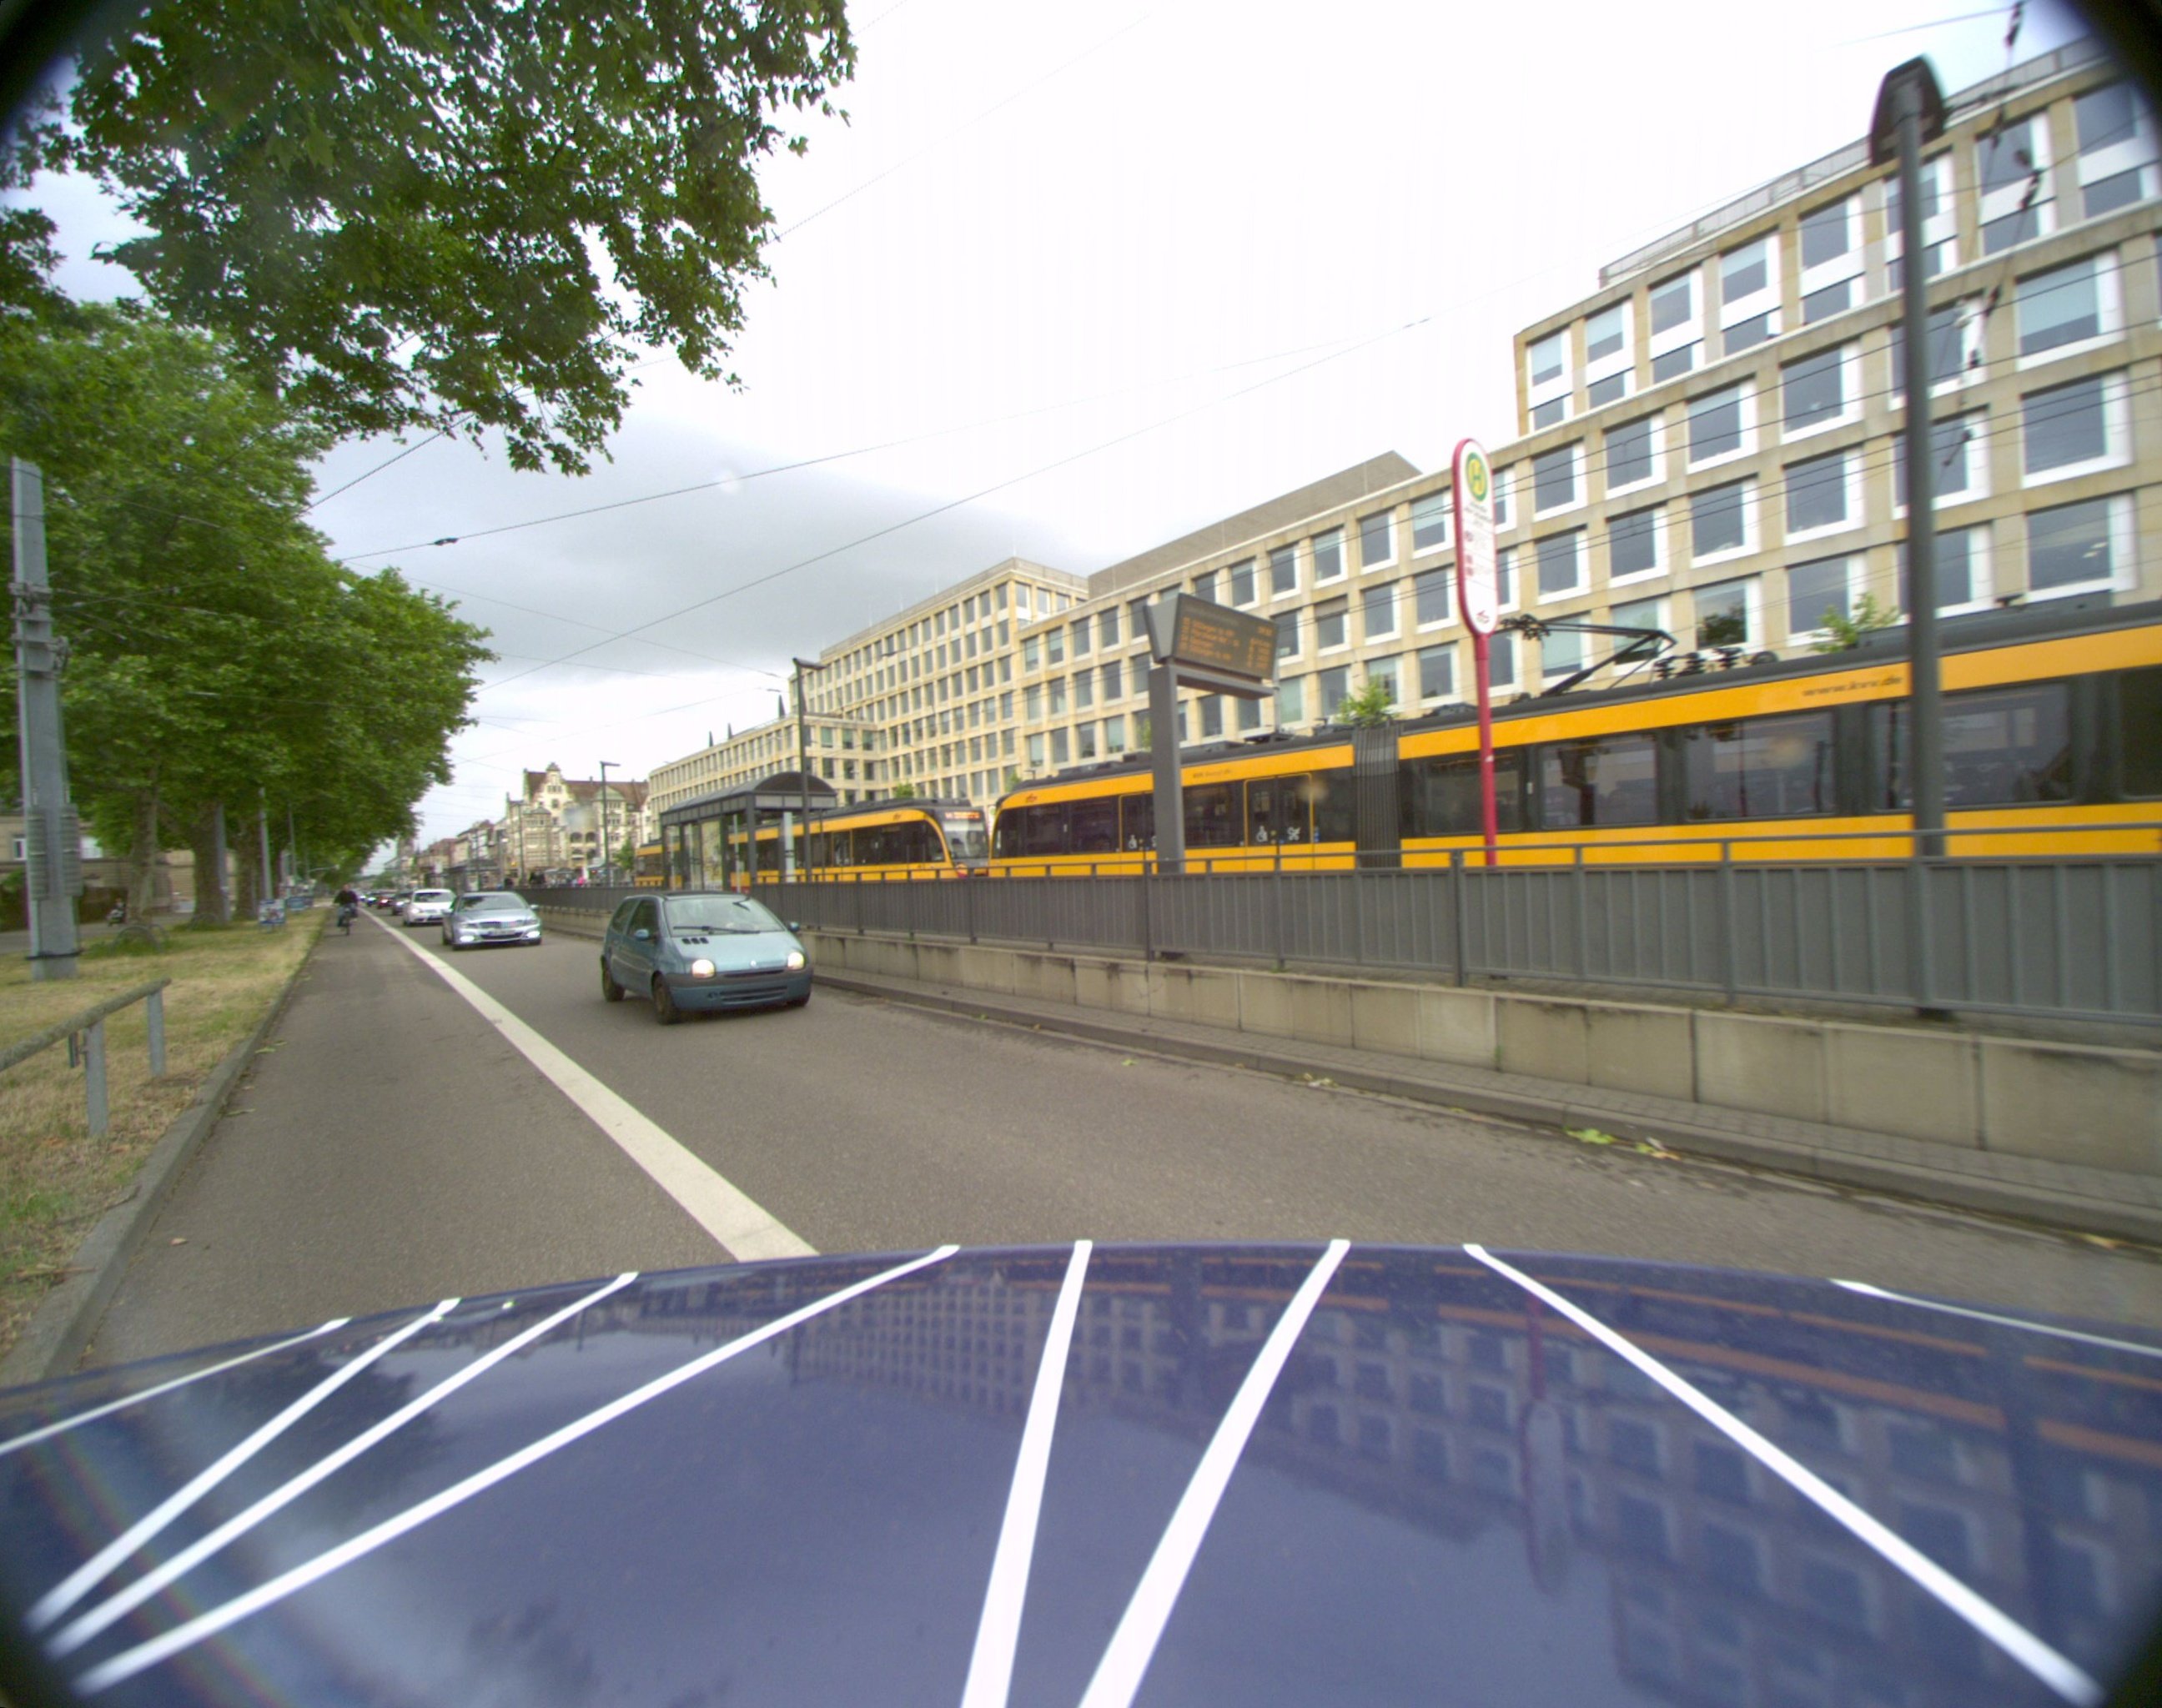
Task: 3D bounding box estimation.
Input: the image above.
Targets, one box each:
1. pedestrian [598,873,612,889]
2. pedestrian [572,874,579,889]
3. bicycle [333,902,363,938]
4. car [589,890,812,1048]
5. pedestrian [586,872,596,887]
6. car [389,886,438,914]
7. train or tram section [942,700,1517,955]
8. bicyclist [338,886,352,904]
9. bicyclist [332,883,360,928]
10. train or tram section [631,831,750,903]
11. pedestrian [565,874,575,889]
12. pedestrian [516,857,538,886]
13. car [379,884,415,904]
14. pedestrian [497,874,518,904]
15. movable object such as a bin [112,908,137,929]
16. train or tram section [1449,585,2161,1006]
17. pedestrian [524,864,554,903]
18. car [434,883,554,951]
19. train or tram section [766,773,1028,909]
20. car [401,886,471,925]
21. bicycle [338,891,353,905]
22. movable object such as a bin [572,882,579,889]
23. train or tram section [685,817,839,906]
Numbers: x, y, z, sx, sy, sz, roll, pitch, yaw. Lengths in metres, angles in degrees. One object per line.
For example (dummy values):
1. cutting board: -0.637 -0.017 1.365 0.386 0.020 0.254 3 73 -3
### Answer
1. pedestrian: -50.089 2.819 79.999 1.043 1.676 0.936 -3 1 -41
2. pedestrian: -54.286 2.957 81.616 0.538 1.598 0.564 -3 1 -37
3. bicycle: -25.942 2.308 26.882 2.277 1.143 0.656 -2 1 44
4. car: -4.765 1.227 9.316 1.539 1.463 3.344 -2 0 -43
5. pedestrian: -52.666 2.746 81.690 0.656 1.598 0.580 -2 1 13
6. car: -40.555 2.741 46.161 2.004 1.443 4.089 -3 1 -44
7. train or tram section: 2.096 -0.323 18.821 3.197 4.155 14.693 -3 1 -44
8. bicyclist: -67.101 3.761 69.269 1.186 1.591 0.814 -1 1 44
9. bicyclist: -25.967 1.815 26.847 0.663 1.522 0.644 -1 1 44
10. train or tram section: -24.053 0.788 46.339 3.254 3.839 11.280 -3 1 -44
11. pedestrian: -58.827 3.158 87.481 0.596 1.759 0.589 -2 1 9
12. pedestrian: -34.891 1.118 47.845 1.110 1.783 0.673 -2 1 33
13. car: -56.465 3.290 62.720 2.004 1.443 4.089 -3 1 -44
14. pedestrian: -34.810 2.113 46.101 1.110 1.783 0.673 -2 1 37
15. movable object such as a bin: -52.892 3.571 42.030 0.615 1.105 1.012 -3 0 -38
16. train or tram section: 12.282 -0.631 8.164 3.197 4.155 14.693 -3 1 -44
17. pedestrian: -28.432 1.545 39.847 1.064 2.002 0.838 -3 1 -44
18. car: -15.467 1.558 19.946 2.004 1.443 4.089 -3 1 -44
19. train or tram section: -7.695 -0.298 29.072 3.197 4.155 13.583 -3 1 -44
20. car: -27.761 2.156 32.645 2.004 1.443 4.089 -3 1 -44
21. bicycle: -66.995 3.986 69.202 2.271 1.163 0.817 -2 1 44
22. movable object such as a bin: -54.584 3.426 82.032 0.538 0.743 0.467 -3 1 -37
23. train or tram section: -16.297 0.390 38.125 3.180 3.839 11.280 -3 1 -44
